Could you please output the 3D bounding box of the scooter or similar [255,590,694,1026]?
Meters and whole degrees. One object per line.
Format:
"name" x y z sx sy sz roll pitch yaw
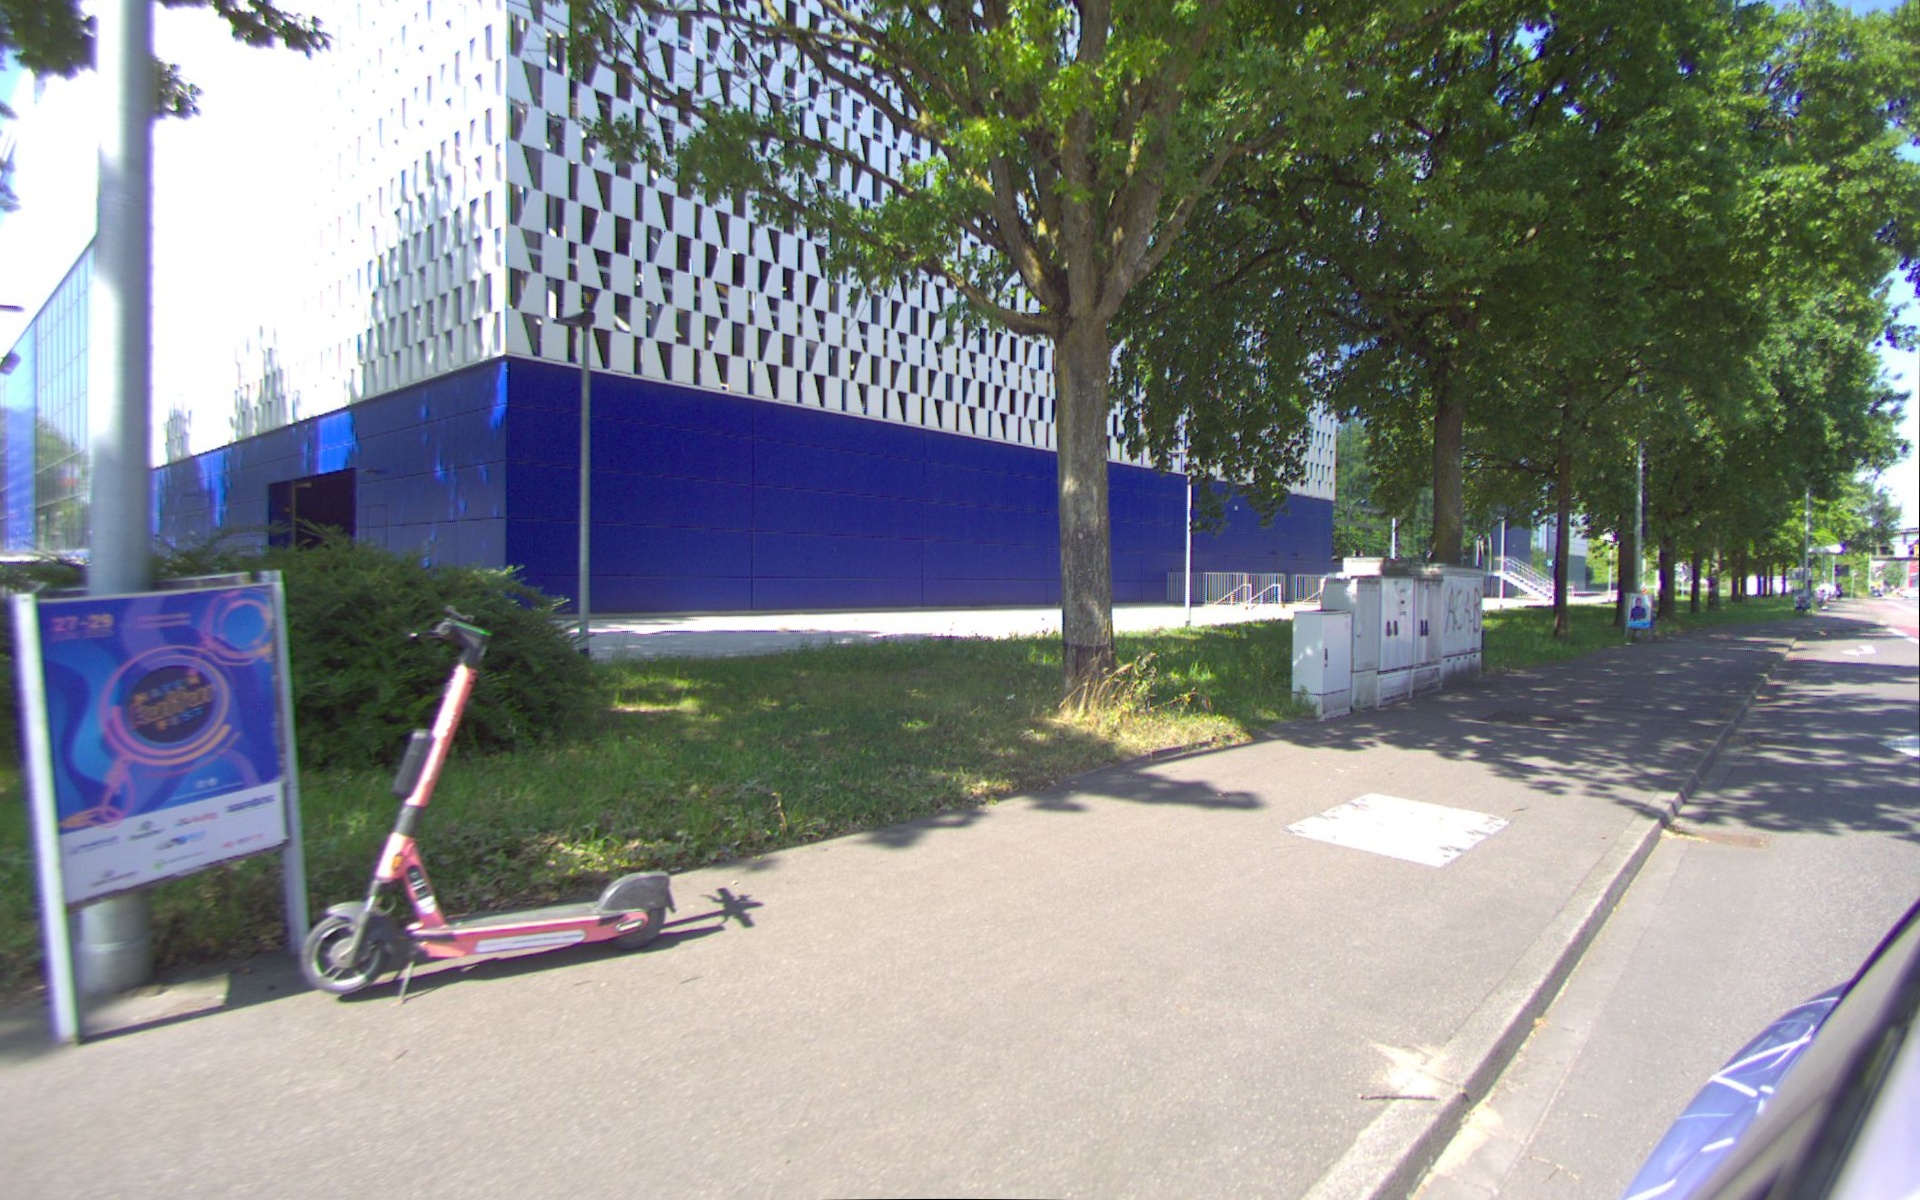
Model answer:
"scooter or similar" -1.593 0.598 3.423 1.286 1.249 0.352 0 1 -35

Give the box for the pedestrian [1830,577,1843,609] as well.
"pedestrian" 52.089 -0.401 60.155 0.535 1.864 0.716 1 1 42

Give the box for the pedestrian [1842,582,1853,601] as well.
"pedestrian" 77.330 -0.718 88.153 0.647 1.623 0.833 2 1 43

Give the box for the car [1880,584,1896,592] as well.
"car" 165.352 -2.207 180.378 1.814 1.371 3.945 2 1 38

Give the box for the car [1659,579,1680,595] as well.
"car" 85.506 -1.569 121.910 1.901 1.851 4.124 2 1 37
